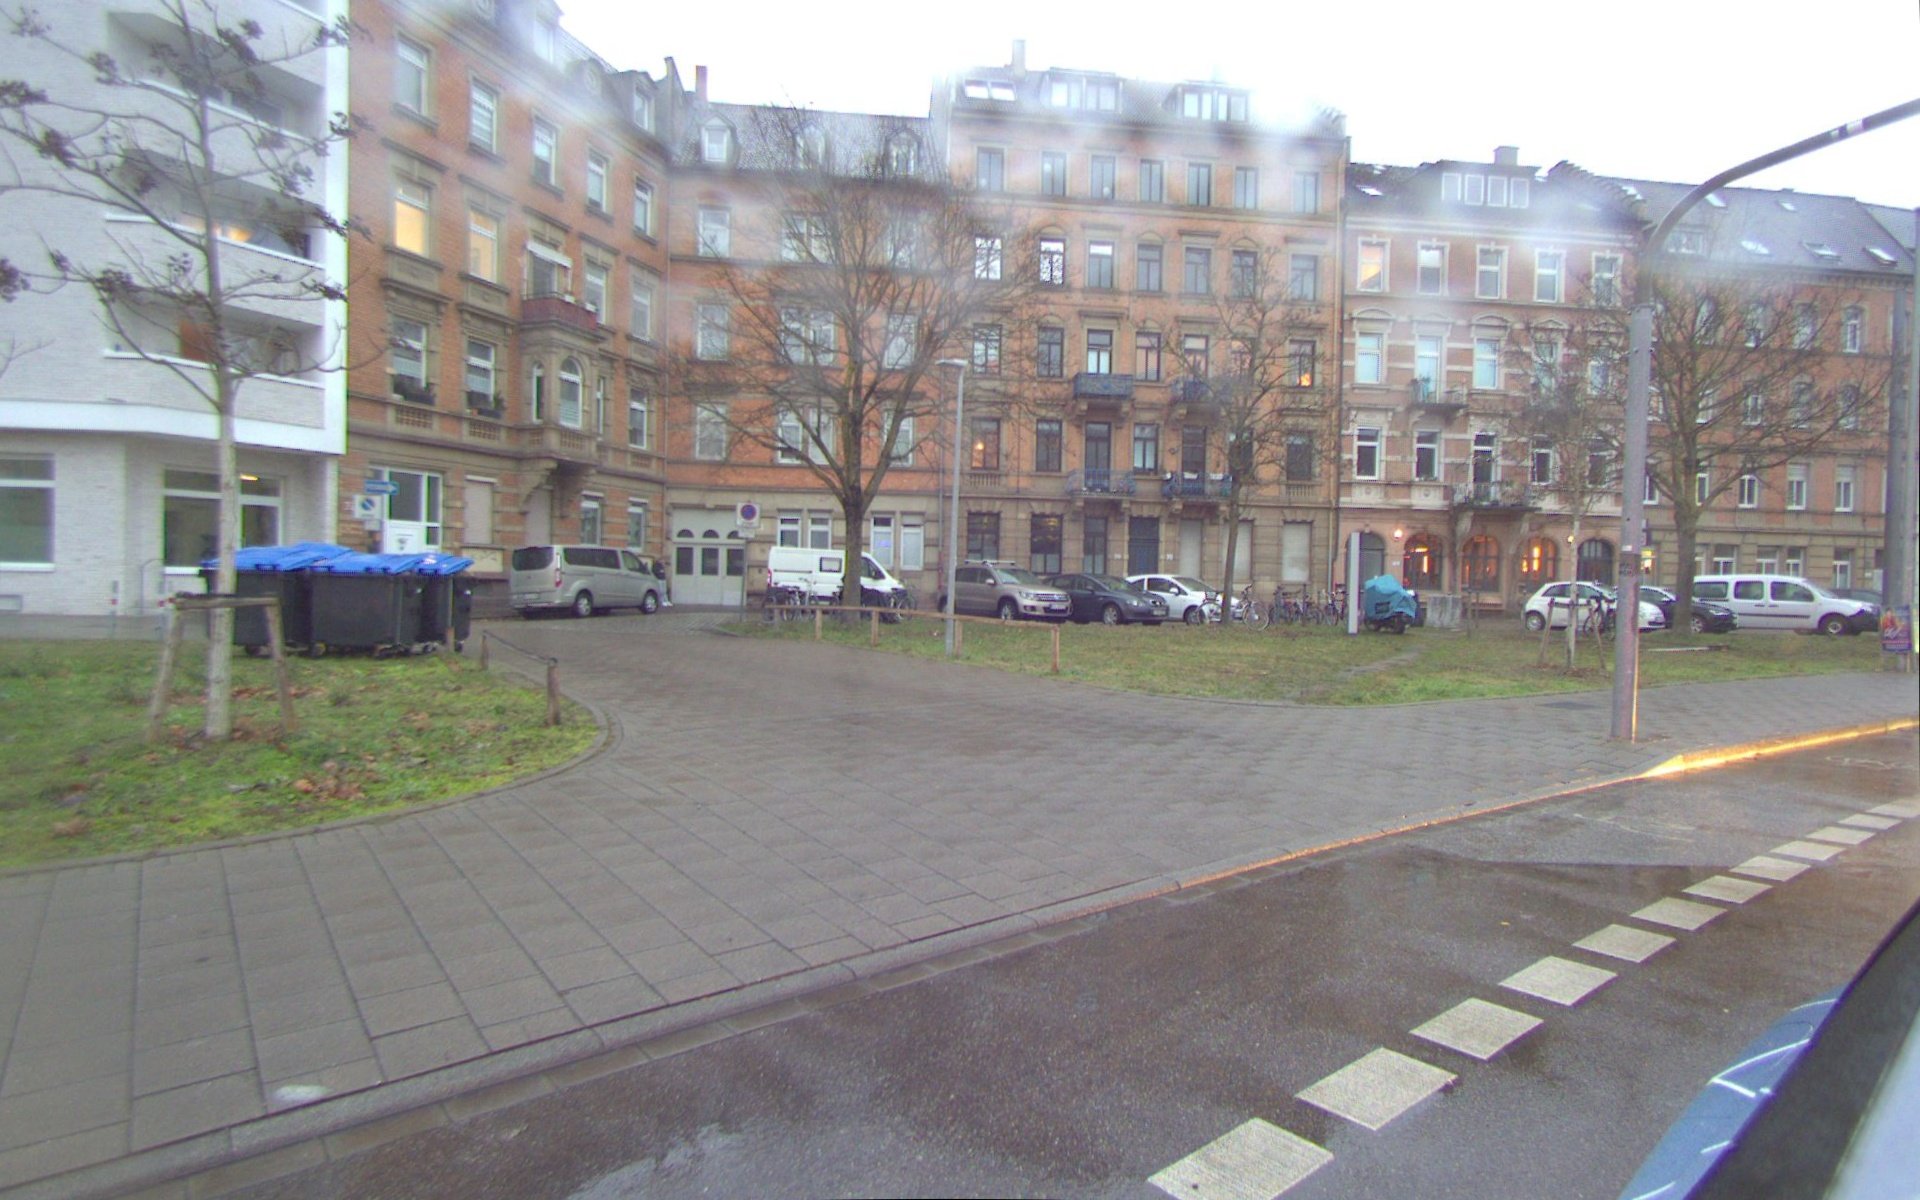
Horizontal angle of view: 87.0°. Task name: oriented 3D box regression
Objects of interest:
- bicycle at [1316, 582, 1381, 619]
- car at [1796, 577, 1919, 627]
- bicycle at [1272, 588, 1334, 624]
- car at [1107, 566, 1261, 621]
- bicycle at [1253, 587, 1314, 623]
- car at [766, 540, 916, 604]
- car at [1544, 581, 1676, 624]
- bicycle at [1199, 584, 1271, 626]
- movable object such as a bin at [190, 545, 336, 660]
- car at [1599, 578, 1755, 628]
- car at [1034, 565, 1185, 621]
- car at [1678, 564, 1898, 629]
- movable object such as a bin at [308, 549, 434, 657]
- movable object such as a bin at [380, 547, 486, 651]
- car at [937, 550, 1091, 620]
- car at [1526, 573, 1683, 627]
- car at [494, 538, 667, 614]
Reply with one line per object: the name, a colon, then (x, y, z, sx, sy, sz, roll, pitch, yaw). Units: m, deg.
bicycle: (11.235, 0.001, 29.336, 0.613, 0.978, 2.176, 1, 2, -13)
car: (27.192, 0.087, 29.450, 1.737, 1.250, 4.066, 2, 3, -35)
bicycle: (9.927, 0.171, 29.348, 0.613, 0.978, 2.175, 3, -1, -13)
car: (6.035, -0.211, 27.540, 1.669, 1.353, 3.852, 0, 1, -42)
bicycle: (9.304, 0.137, 29.197, 0.613, 0.978, 2.175, 3, -1, -13)
car: (-4.064, -0.953, 34.495, 4.884, 2.038, 2.004, 1, 2, -8)
car: (24.225, 0.109, 37.755, 3.967, 1.520, 1.740, 1, -1, -9)
bicycle: (6.624, 0.107, 24.418, 1.628, 0.948, 0.512, 2, 1, 15)
movable object such as a bin: (-9.626, 0.025, 14.029, 1.303, 1.514, 1.031, 1, 1, 0)
car: (20.975, 0.069, 29.709, 1.634, 1.368, 3.430, 1, 0, -39)
car: (3.888, -0.180, 26.667, 1.649, 1.372, 3.737, 2, 0, -42)
car: (24.110, -0.169, 29.651, 1.745, 1.611, 4.663, 0, 3, -37)
movable object such as a bin: (-8.251, 0.027, 14.226, 1.200, 1.433, 1.018, 1, 2, -3)
movable object such as a bin: (-7.975, -0.004, 15.361, 1.022, 1.509, 1.035, 0, -1, 6)
car: (1.333, -0.457, 26.446, 1.908, 1.656, 3.999, -1, 3, -37)
car: (18.377, 0.001, 28.978, 1.583, 1.461, 3.467, 1, 0, -34)
car: (-10.568, -0.572, 28.587, 1.976, 1.943, 4.715, -1, -1, 21)
